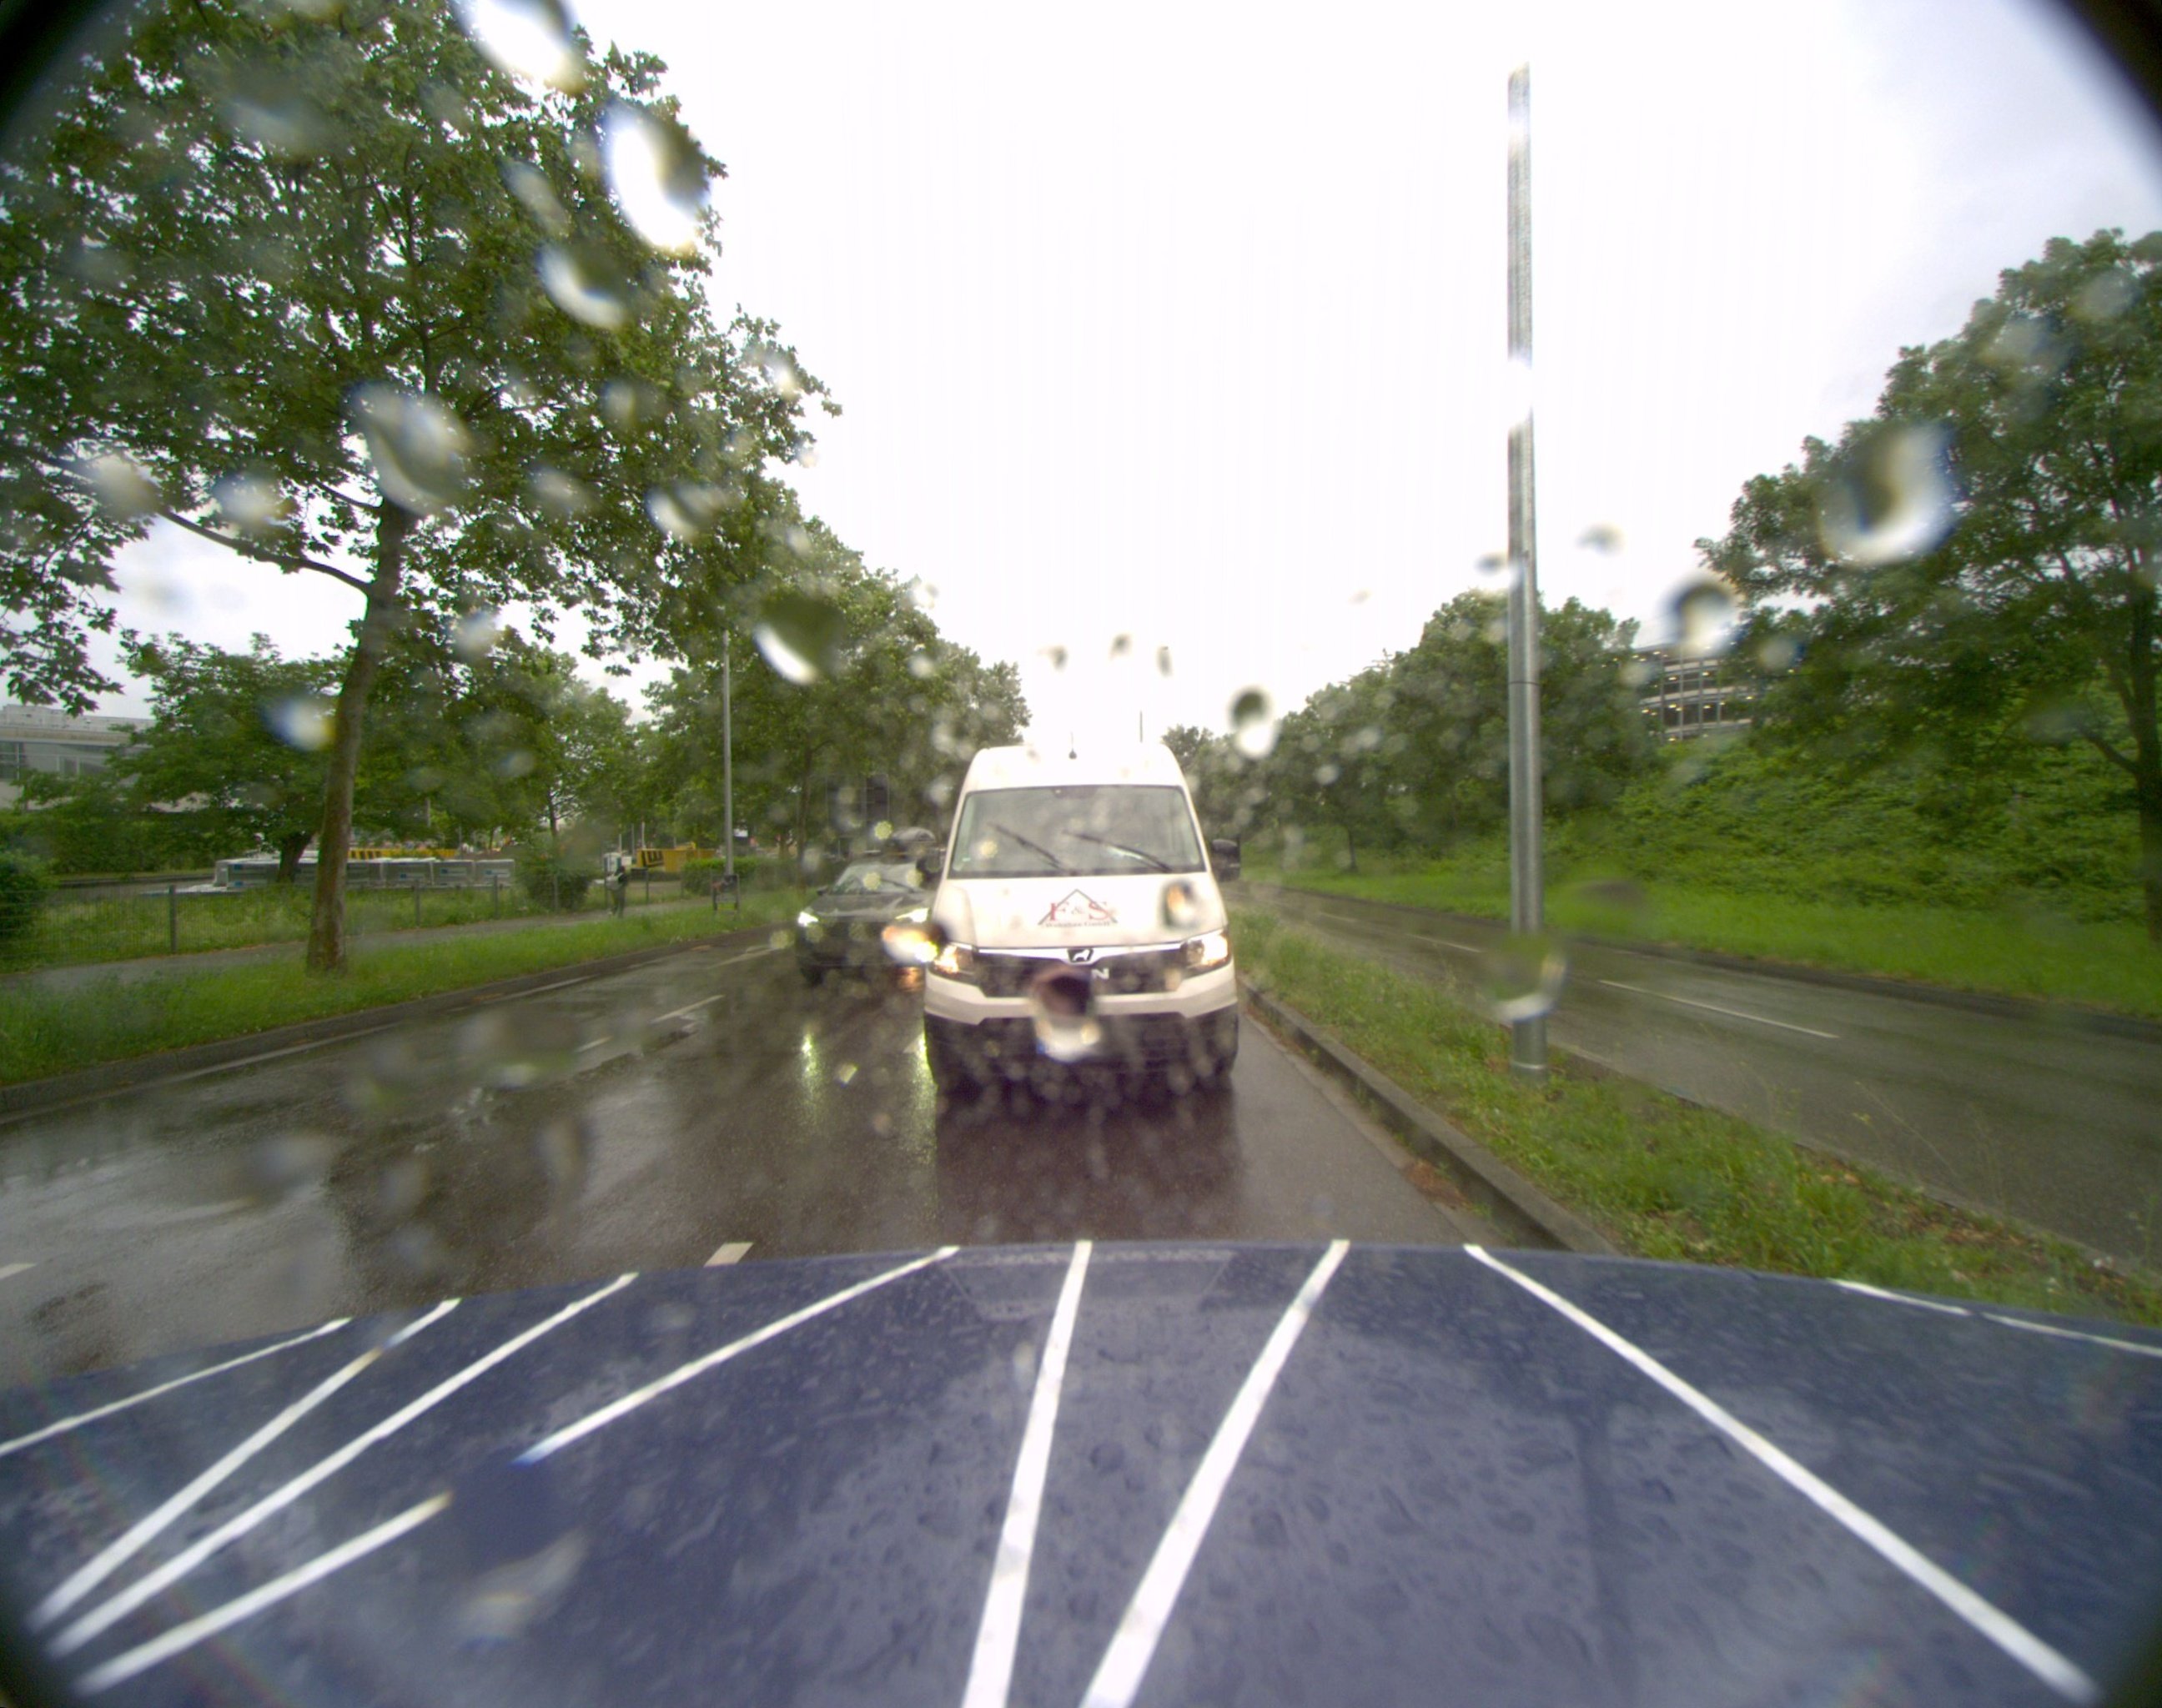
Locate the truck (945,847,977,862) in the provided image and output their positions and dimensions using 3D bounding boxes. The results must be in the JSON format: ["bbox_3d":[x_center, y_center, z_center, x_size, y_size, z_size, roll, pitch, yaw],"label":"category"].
[{"bbox_3d":[-20.972,0.086,132.616,5.061,2.363,1.792,-3,1,-30],"label":"truck"}]

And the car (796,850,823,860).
[{"bbox_3d":[-36.763,0.133,102.854,3.154,1.321,1.427,-3,1,-26],"label":"car"}]

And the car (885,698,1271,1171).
[{"bbox_3d":[-0.061,0.425,6.923,2.027,2.498,5.695,-1,0,-1],"label":"car"}]

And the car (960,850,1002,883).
[{"bbox_3d":[-5.566,0.698,42.671,1.679,1.675,4.148,-3,0,1],"label":"car"}]

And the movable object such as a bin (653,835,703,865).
[{"bbox_3d":[-47.555,-0.477,89.698,4.946,3.415,1.914,-3,1,-34],"label":"movable object such as a bin"}]

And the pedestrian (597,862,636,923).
[{"bbox_3d":[-13.526,1.111,22.147,0.646,1.707,0.656,-2,1,1],"label":"pedestrian"}]

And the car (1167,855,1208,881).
[{"bbox_3d":[6.560,0.844,47.229,1.891,1.510,4.301,1,0,0],"label":"car"}]

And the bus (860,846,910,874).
[{"bbox_3d":[-19.131,0.566,74.387,4.370,2.553,1.711,-2,1,0],"label":"bus"}]

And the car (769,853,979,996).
[{"bbox_3d":[-2.778,0.846,11.338,1.894,1.688,4.423,-1,0,0],"label":"car"}]
